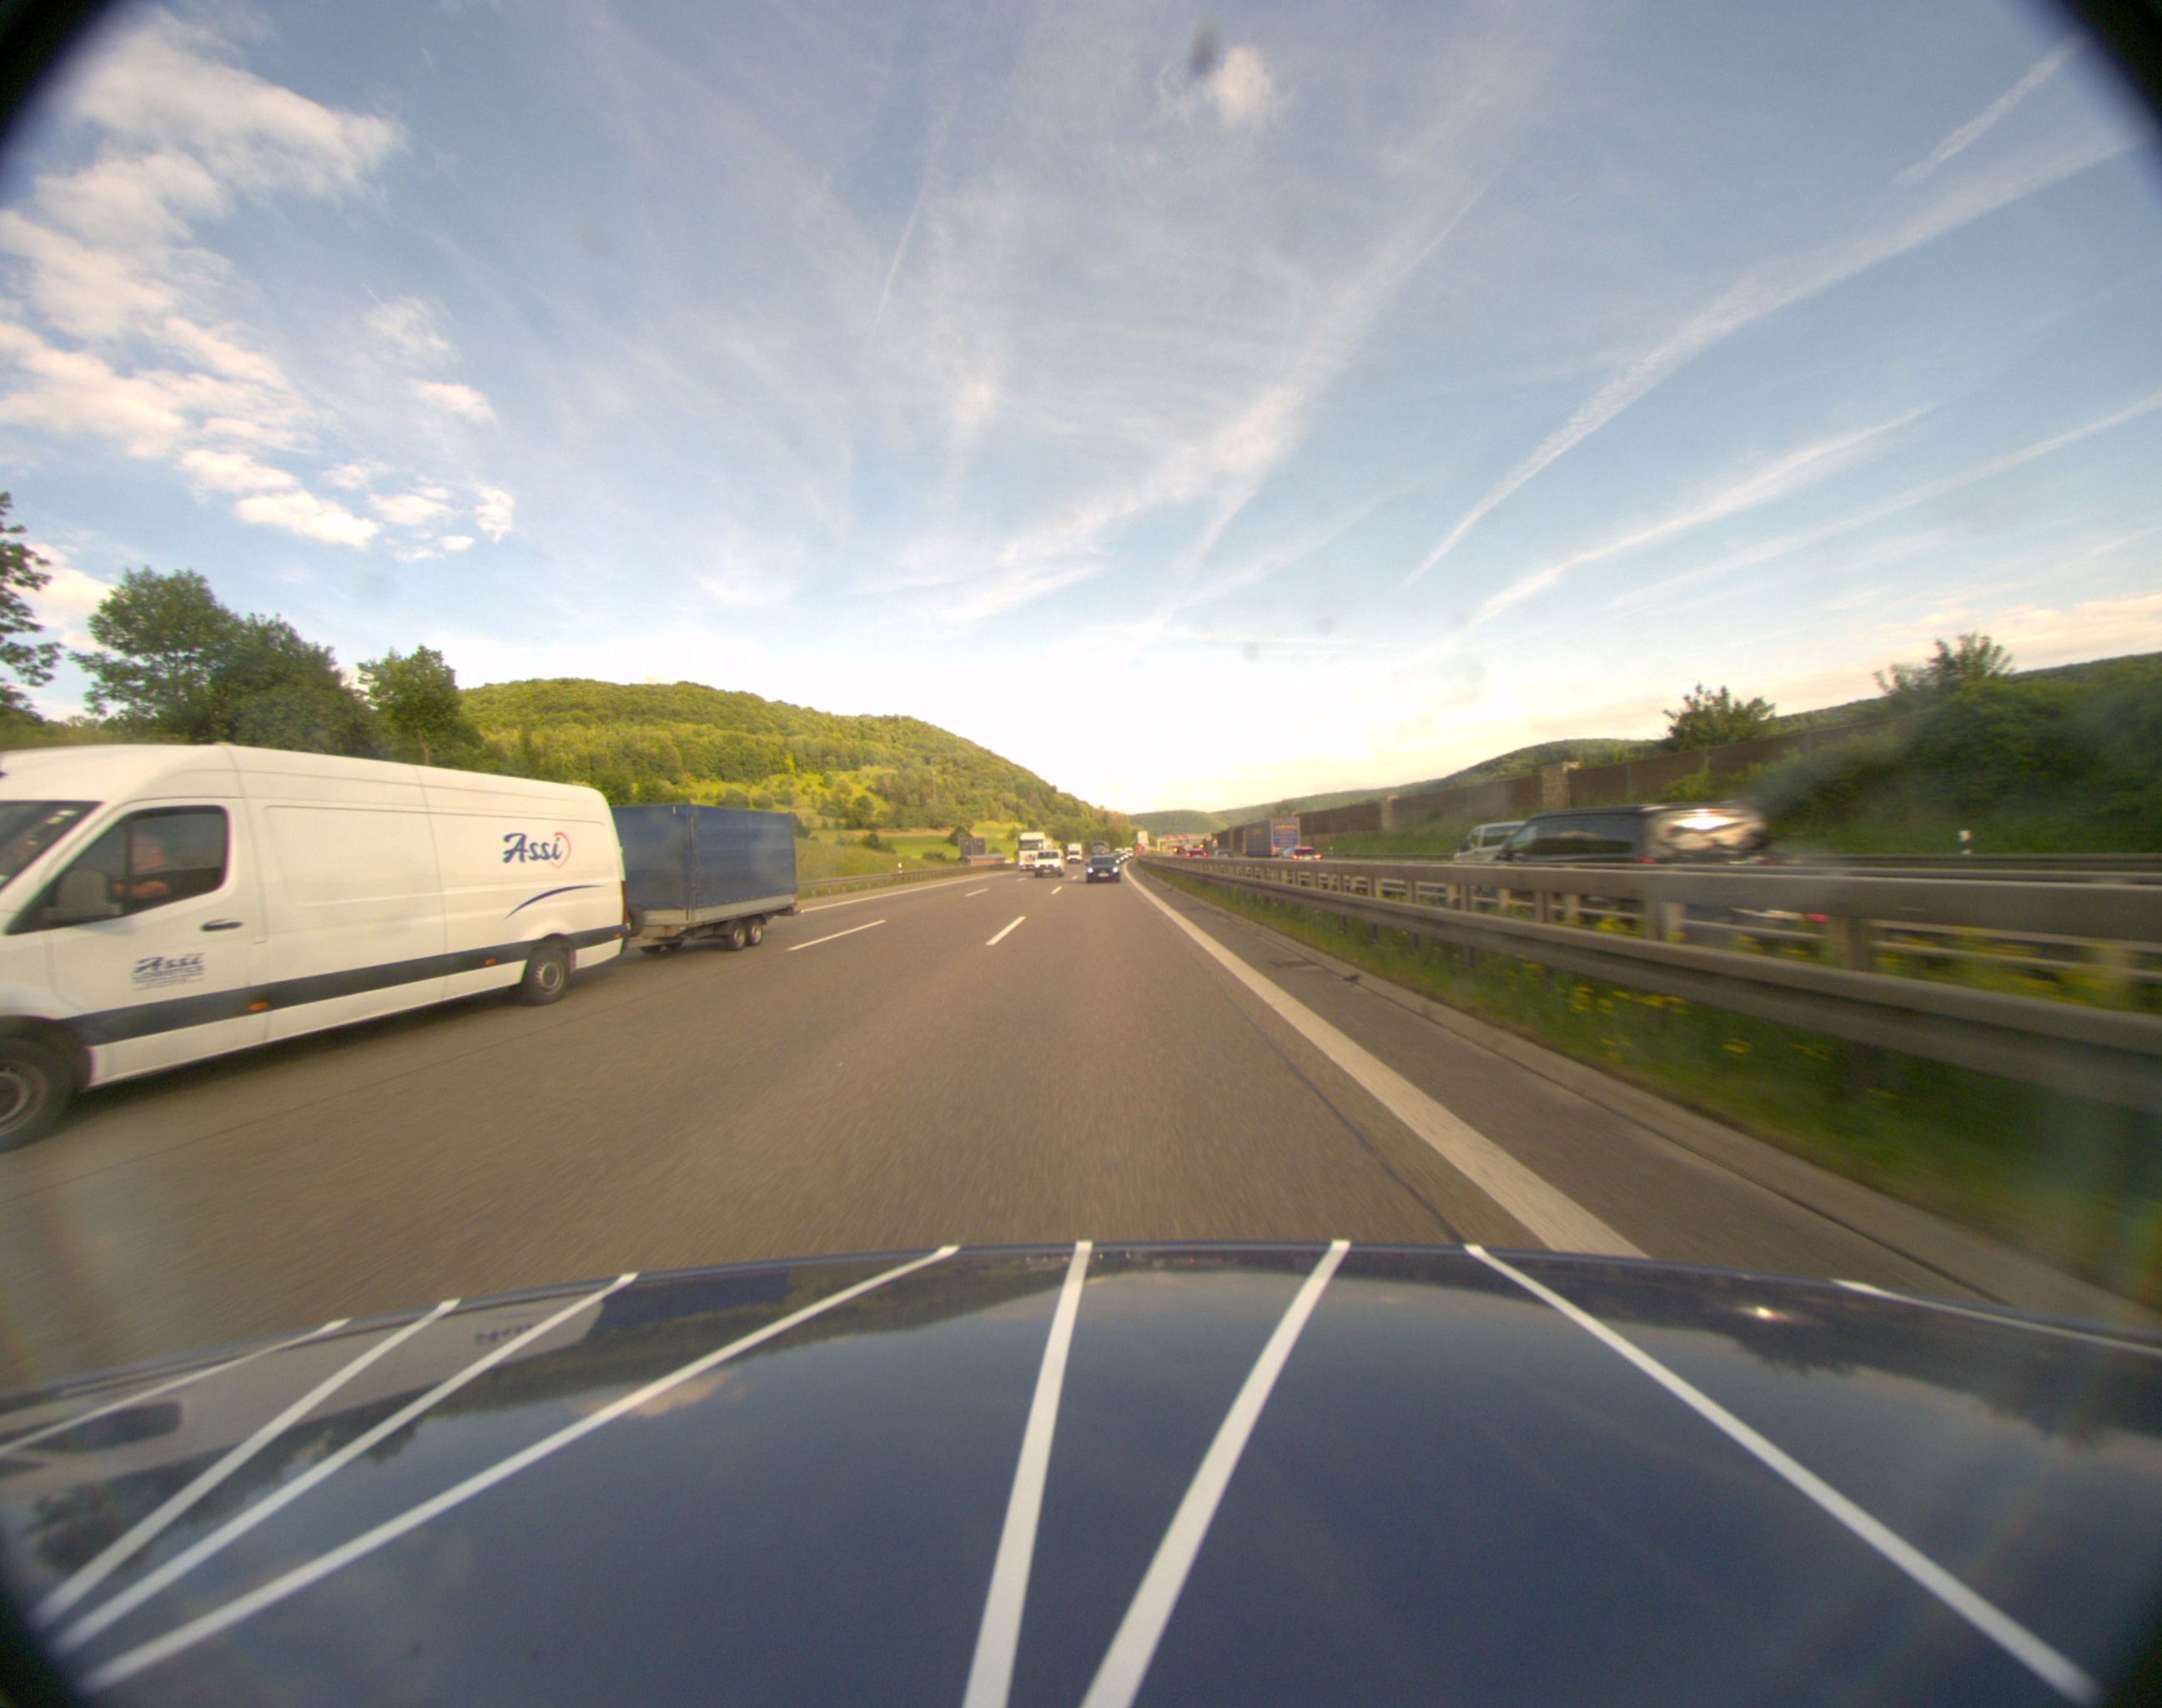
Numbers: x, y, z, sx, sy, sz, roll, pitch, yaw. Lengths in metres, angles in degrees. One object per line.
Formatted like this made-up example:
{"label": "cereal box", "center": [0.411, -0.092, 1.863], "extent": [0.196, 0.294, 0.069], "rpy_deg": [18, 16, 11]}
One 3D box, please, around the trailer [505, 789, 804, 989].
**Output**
{"label": "trailer", "center": [-6.885, 0.479, 13.186], "extent": [1.998, 2.710, 5.249], "rpy_deg": [-2, 0, 2]}

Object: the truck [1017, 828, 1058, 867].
{"label": "truck", "center": [-4.609, -0.713, 83.637], "extent": [2.924, 3.876, 13.012], "rpy_deg": [-2, 0, 3]}

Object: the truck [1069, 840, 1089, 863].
{"label": "truck", "center": [-0.370, -0.399, 126.211], "extent": [2.709, 3.627, 9.030], "rpy_deg": [-2, 0, -3]}

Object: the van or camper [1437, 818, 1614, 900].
{"label": "van or camper", "center": [12.090, 0.110, 21.210], "extent": [1.853, 1.928, 5.401], "rpy_deg": [-2, 0, 1]}

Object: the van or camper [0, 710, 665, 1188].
{"label": "van or camper", "center": [-7.023, 0.564, 6.937], "extent": [1.998, 2.701, 7.523], "rpy_deg": [-2, 0, 2]}

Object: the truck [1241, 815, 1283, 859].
{"label": "truck", "center": [18.593, -1.707, 78.407], "extent": [2.656, 4.235, 8.168], "rpy_deg": [-2, 0, 3]}

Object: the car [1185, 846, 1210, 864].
{"label": "car", "center": [10.450, 0.079, 68.261], "extent": [1.688, 1.450, 4.000], "rpy_deg": [-2, 0, 1]}

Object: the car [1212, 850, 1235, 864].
{"label": "car", "center": [14.996, 0.252, 80.120], "extent": [1.688, 1.388, 4.000], "rpy_deg": [-2, 0, 1]}

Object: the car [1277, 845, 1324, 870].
{"label": "car", "center": [13.196, 0.216, 45.916], "extent": [1.688, 1.388, 4.000], "rpy_deg": [-2, 0, 1]}

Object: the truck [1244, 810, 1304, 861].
{"label": "truck", "center": [18.285, -1.648, 73.159], "extent": [2.656, 4.253, 14.680], "rpy_deg": [-2, 0, 3]}

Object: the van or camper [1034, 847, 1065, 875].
{"label": "van or camper", "center": [-2.204, 0.488, 54.570], "extent": [1.998, 1.881, 4.487], "rpy_deg": [-2, 0, 0]}

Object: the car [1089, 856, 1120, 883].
{"label": "car", "center": [1.289, 0.803, 41.256], "extent": [1.580, 1.310, 4.000], "rpy_deg": [-2, 0, 2]}

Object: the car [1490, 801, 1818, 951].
{"label": "car", "center": [8.562, 0.276, 11.980], "extent": [1.934, 1.880, 4.345], "rpy_deg": [-2, 0, 1]}

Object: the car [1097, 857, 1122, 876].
{"label": "car", "center": [2.929, 1.320, 78.173], "extent": [1.999, 1.870, 3.998], "rpy_deg": [-1, 0, -6]}
